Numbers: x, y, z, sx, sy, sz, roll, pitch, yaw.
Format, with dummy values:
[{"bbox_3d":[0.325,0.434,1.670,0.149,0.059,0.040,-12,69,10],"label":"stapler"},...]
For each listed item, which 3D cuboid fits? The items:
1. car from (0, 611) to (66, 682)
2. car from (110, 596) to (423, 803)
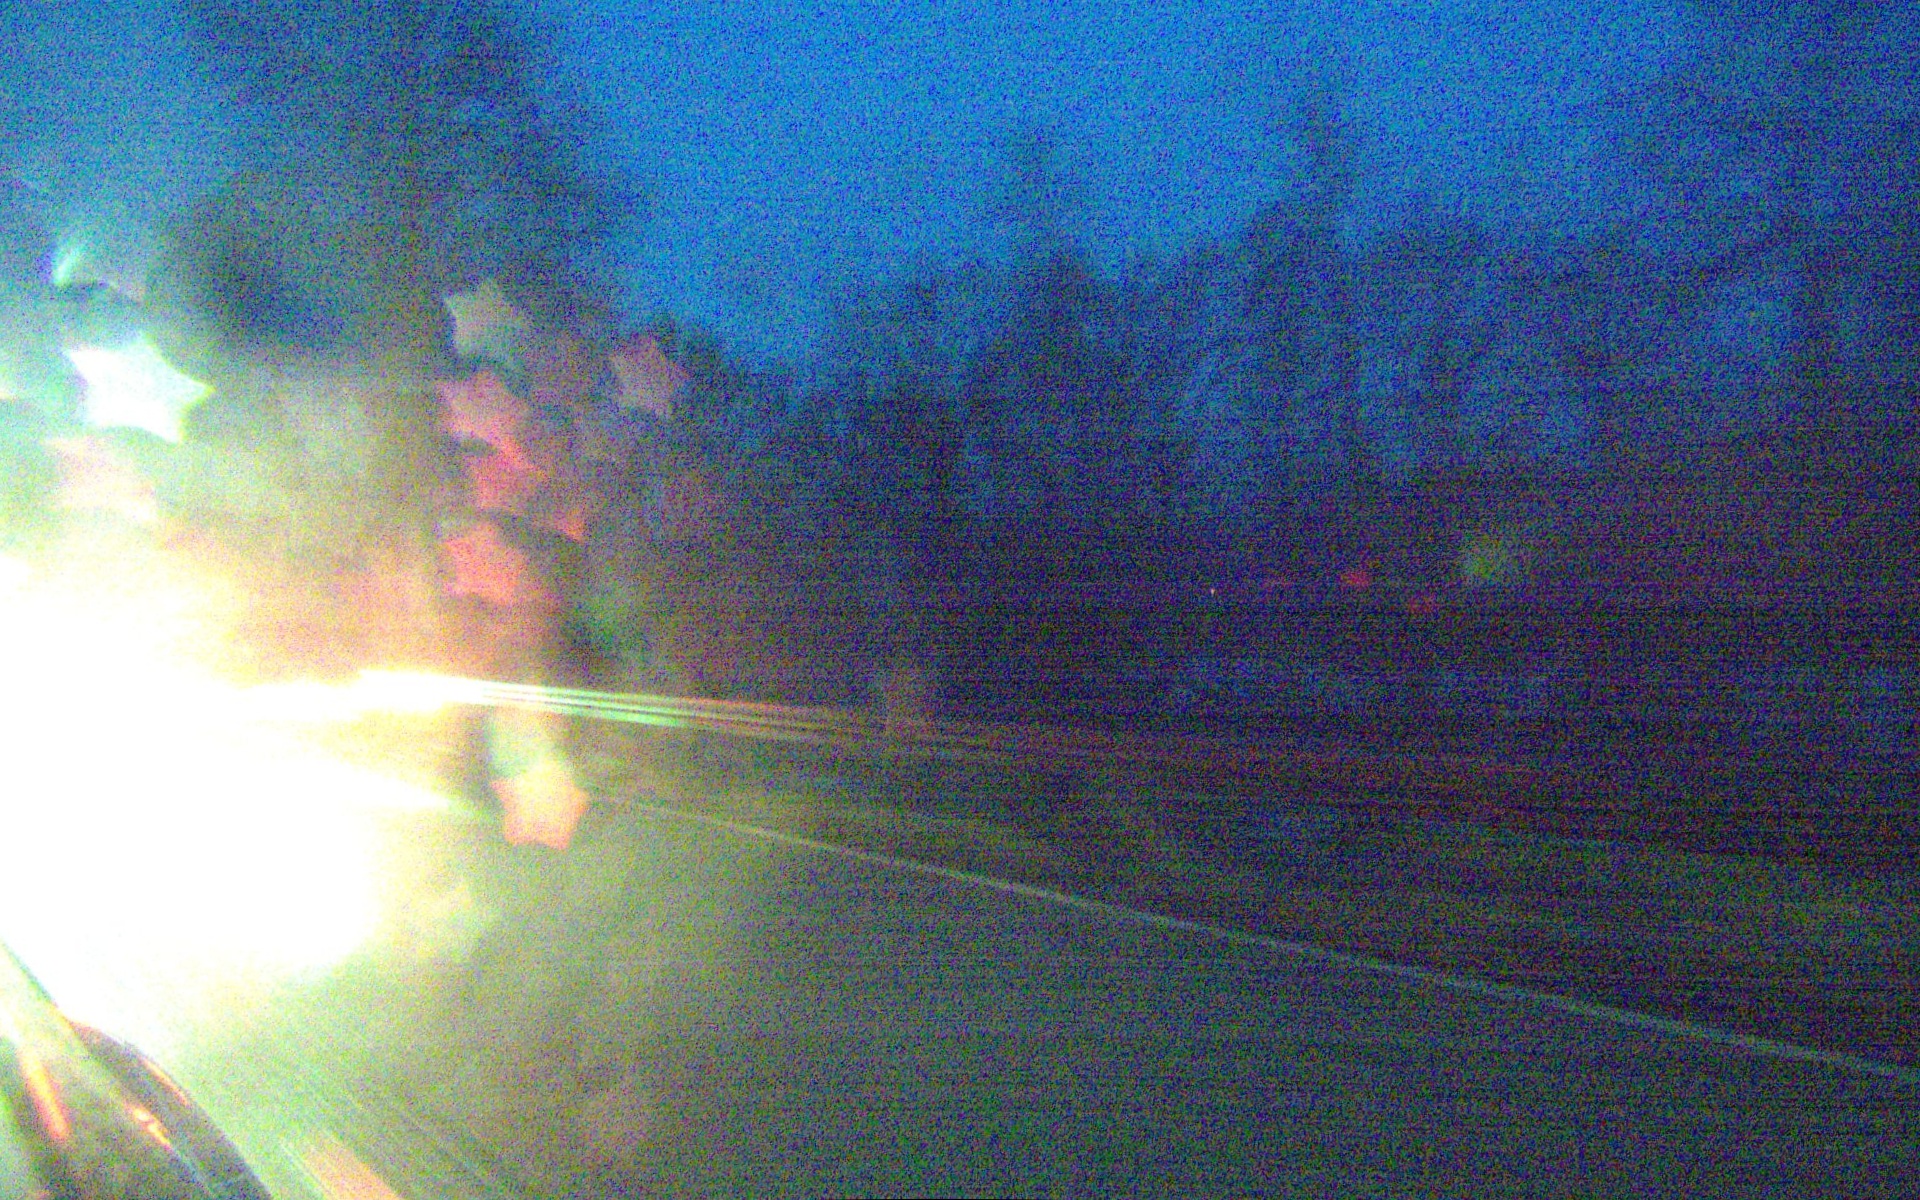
[{"bbox_3d":[-29.611,1.435,31.735,4.345,2.084,1.972,-2,-2,43],"label":"car"},{"bbox_3d":[-6.444,0.835,9.270,3.600,1.522,1.577,-3,-5,43],"label":"car"}]
